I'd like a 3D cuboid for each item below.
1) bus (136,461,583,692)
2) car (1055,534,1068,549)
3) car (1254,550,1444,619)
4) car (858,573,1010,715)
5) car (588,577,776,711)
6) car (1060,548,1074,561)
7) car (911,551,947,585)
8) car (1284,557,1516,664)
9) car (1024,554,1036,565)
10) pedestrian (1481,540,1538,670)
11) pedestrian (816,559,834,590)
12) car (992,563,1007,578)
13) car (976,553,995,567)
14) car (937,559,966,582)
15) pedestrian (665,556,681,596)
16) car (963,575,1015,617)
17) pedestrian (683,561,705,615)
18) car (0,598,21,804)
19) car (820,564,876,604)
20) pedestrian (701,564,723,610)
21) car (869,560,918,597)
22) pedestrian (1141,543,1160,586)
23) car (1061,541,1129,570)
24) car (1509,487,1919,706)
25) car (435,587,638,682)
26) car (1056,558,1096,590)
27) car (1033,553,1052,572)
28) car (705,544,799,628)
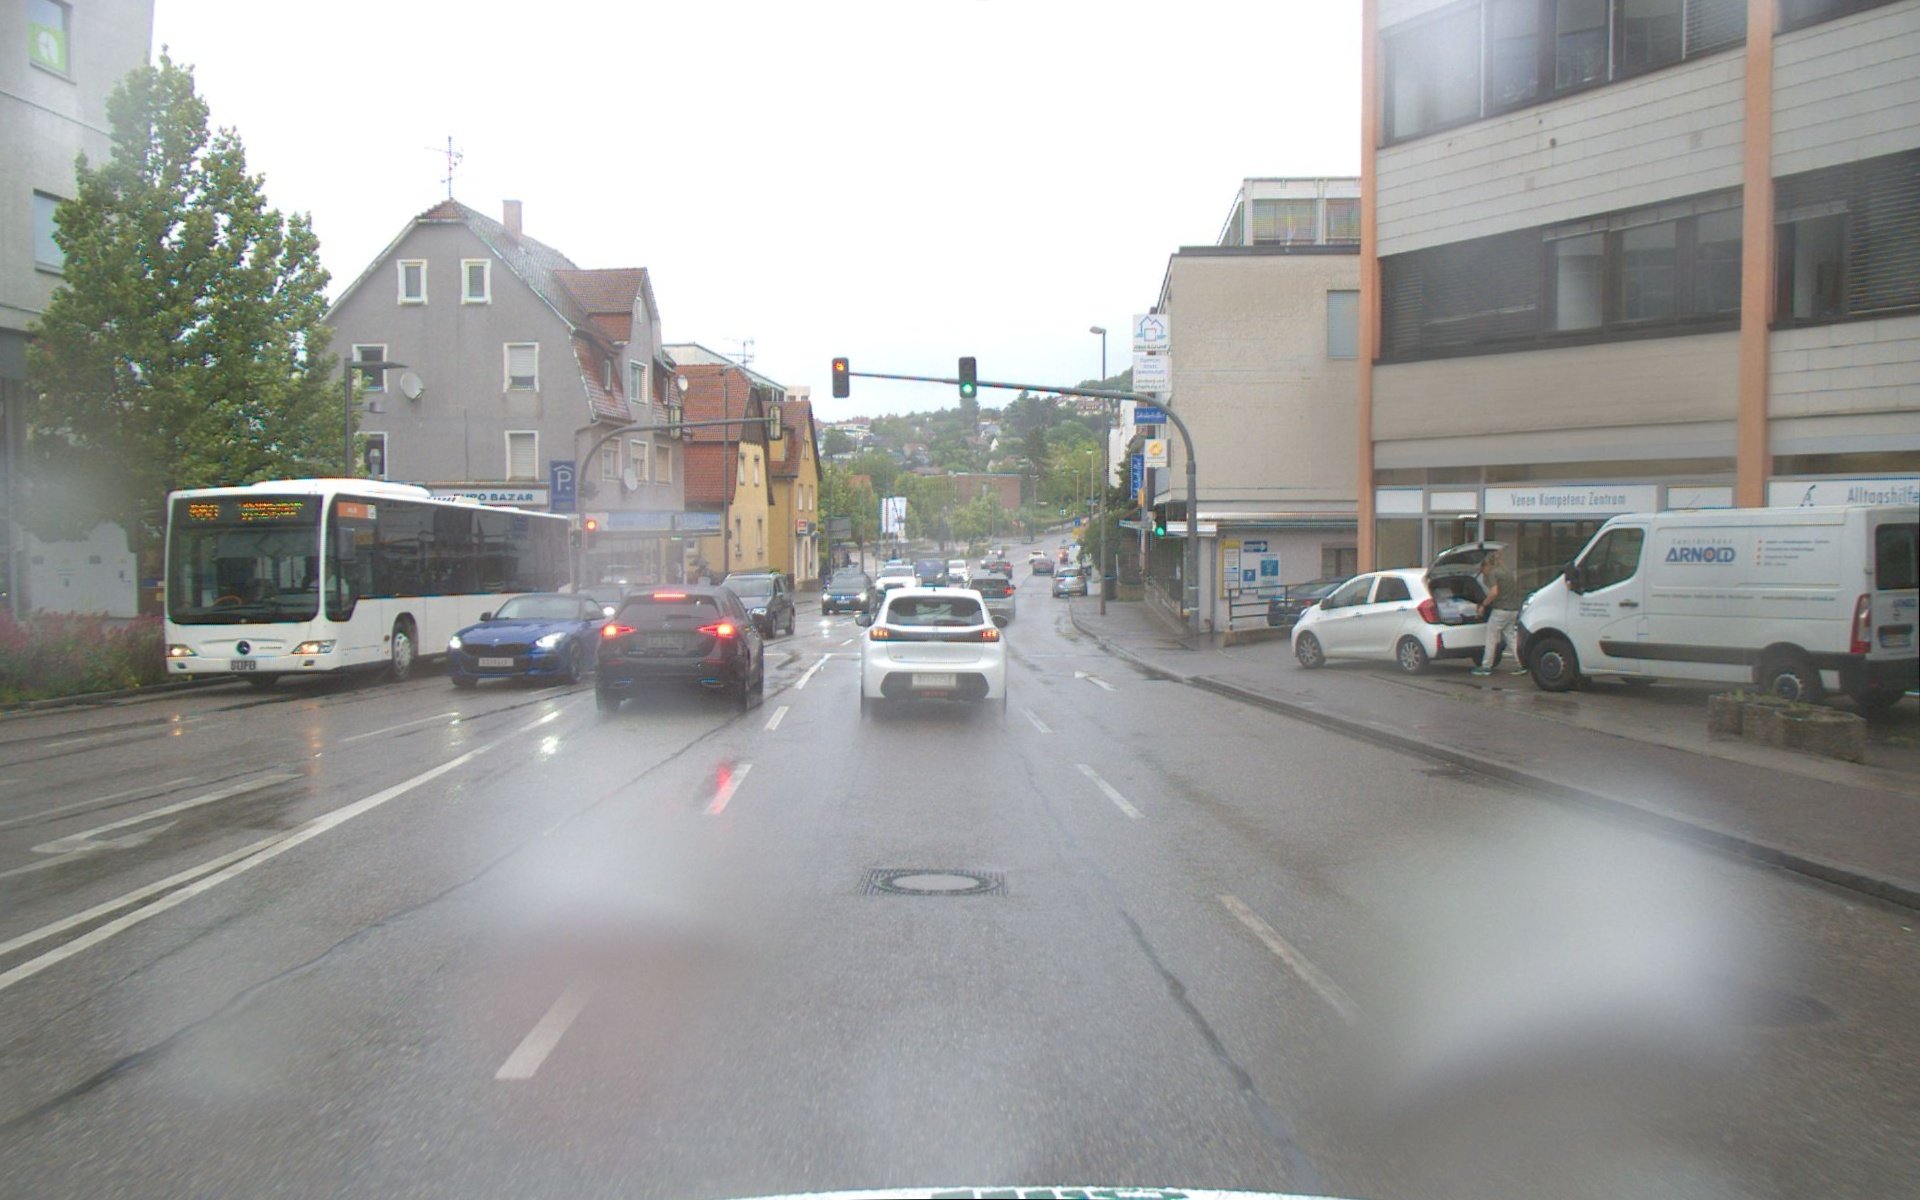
[{"bbox_3d":[-9.682,-0.396,28.895,2.832,3.153,12.005,-1,1,3],"label":"bus"},{"bbox_3d":[15.016,-8.672,244.131,1.952,2.049,4.002,-1,1,4],"label":"car"},{"bbox_3d":[9.156,-0.399,38.823,4.339,1.435,1.719,-2,2,-30],"label":"car"},{"bbox_3d":[-0.272,0.467,20.054,1.656,1.545,3.933,0,0,0],"label":"car"},{"bbox_3d":[-3.340,0.469,20.565,1.680,1.475,4.197,-1,1,-1],"label":"car"},{"bbox_3d":[12.663,-5.363,195.646,1.613,1.511,3.368,-1,1,3],"label":"car"},{"bbox_3d":[-1.851,-1.885,98.898,1.925,1.972,5.180,-1,1,1],"label":"car"},{"bbox_3d":[6.595,0.136,25.112,1.591,1.487,3.396,-1,1,-26],"label":"car"},{"bbox_3d":[8.147,-4.705,192.706,1.356,1.146,2.611,-1,1,3],"label":"car"},{"bbox_3d":[7.748,0.065,23.313,0.581,1.797,0.600,-1,2,-4],"label":"pedestrian"},{"bbox_3d":[-7.833,-1.489,96.102,0.783,1.819,0.883,-1,0,11],"label":"pedestrian"},{"bbox_3d":[3.117,-2.340,131.904,1.188,1.176,2.271,-1,1,1],"label":"car"},{"bbox_3d":[2.687,-4.174,172.922,1.731,1.438,4.528,-1,1,3],"label":"car"},{"bbox_3d":[-0.597,-2.167,121.166,1.839,1.637,4.721,-1,1,3],"label":"car"},{"bbox_3d":[-11.528,-0.954,66.474,0.532,1.584,0.446,-1,1,4],"label":"pedestrian"},{"bbox_3d":[0.976,-0.144,56.505,1.705,1.318,3.334,-1,2,0],"label":"car"},{"bbox_3d":[-9.822,-0.437,61.101,0.648,1.954,0.946,2,0,-5],"label":"pedestrian"},{"bbox_3d":[-7.381,0.726,9.869,1.532,1.399,3.283,-2,1,3],"label":"car"},{"bbox_3d":[-4.217,-0.614,62.964,1.722,1.459,4.381,-1,1,1],"label":"car"},{"bbox_3d":[-7.715,-0.398,51.537,0.567,1.419,0.561,-1,0,1],"label":"pedestrian"},{"bbox_3d":[-3.202,-1.035,80.649,2.055,1.742,4.850,-1,1,1],"label":"car"},{"bbox_3d":[7.966,-1.493,69.209,0.713,1.811,0.954,0,2,11],"label":"pedestrian"},{"bbox_3d":[11.885,-3.874,145.241,2.260,2.423,6.578,0,1,45],"label":"car"},{"bbox_3d":[9.190,-0.206,19.825,1.982,2.246,4.822,-4,5,-32],"label":"car"},{"bbox_3d":[-6.307,0.469,25.130,1.857,1.278,4.196,-1,1,2],"label":"car"},{"bbox_3d":[6.309,-1.397,90.378,1.970,1.650,4.361,0,0,1],"label":"car"},{"bbox_3d":[7.315,-3.357,146.876,1.698,1.411,3.356,1,5,2],"label":"car"},{"bbox_3d":[-5.365,-0.373,43.172,1.599,2.049,4.287,-1,1,4],"label":"car"}]
